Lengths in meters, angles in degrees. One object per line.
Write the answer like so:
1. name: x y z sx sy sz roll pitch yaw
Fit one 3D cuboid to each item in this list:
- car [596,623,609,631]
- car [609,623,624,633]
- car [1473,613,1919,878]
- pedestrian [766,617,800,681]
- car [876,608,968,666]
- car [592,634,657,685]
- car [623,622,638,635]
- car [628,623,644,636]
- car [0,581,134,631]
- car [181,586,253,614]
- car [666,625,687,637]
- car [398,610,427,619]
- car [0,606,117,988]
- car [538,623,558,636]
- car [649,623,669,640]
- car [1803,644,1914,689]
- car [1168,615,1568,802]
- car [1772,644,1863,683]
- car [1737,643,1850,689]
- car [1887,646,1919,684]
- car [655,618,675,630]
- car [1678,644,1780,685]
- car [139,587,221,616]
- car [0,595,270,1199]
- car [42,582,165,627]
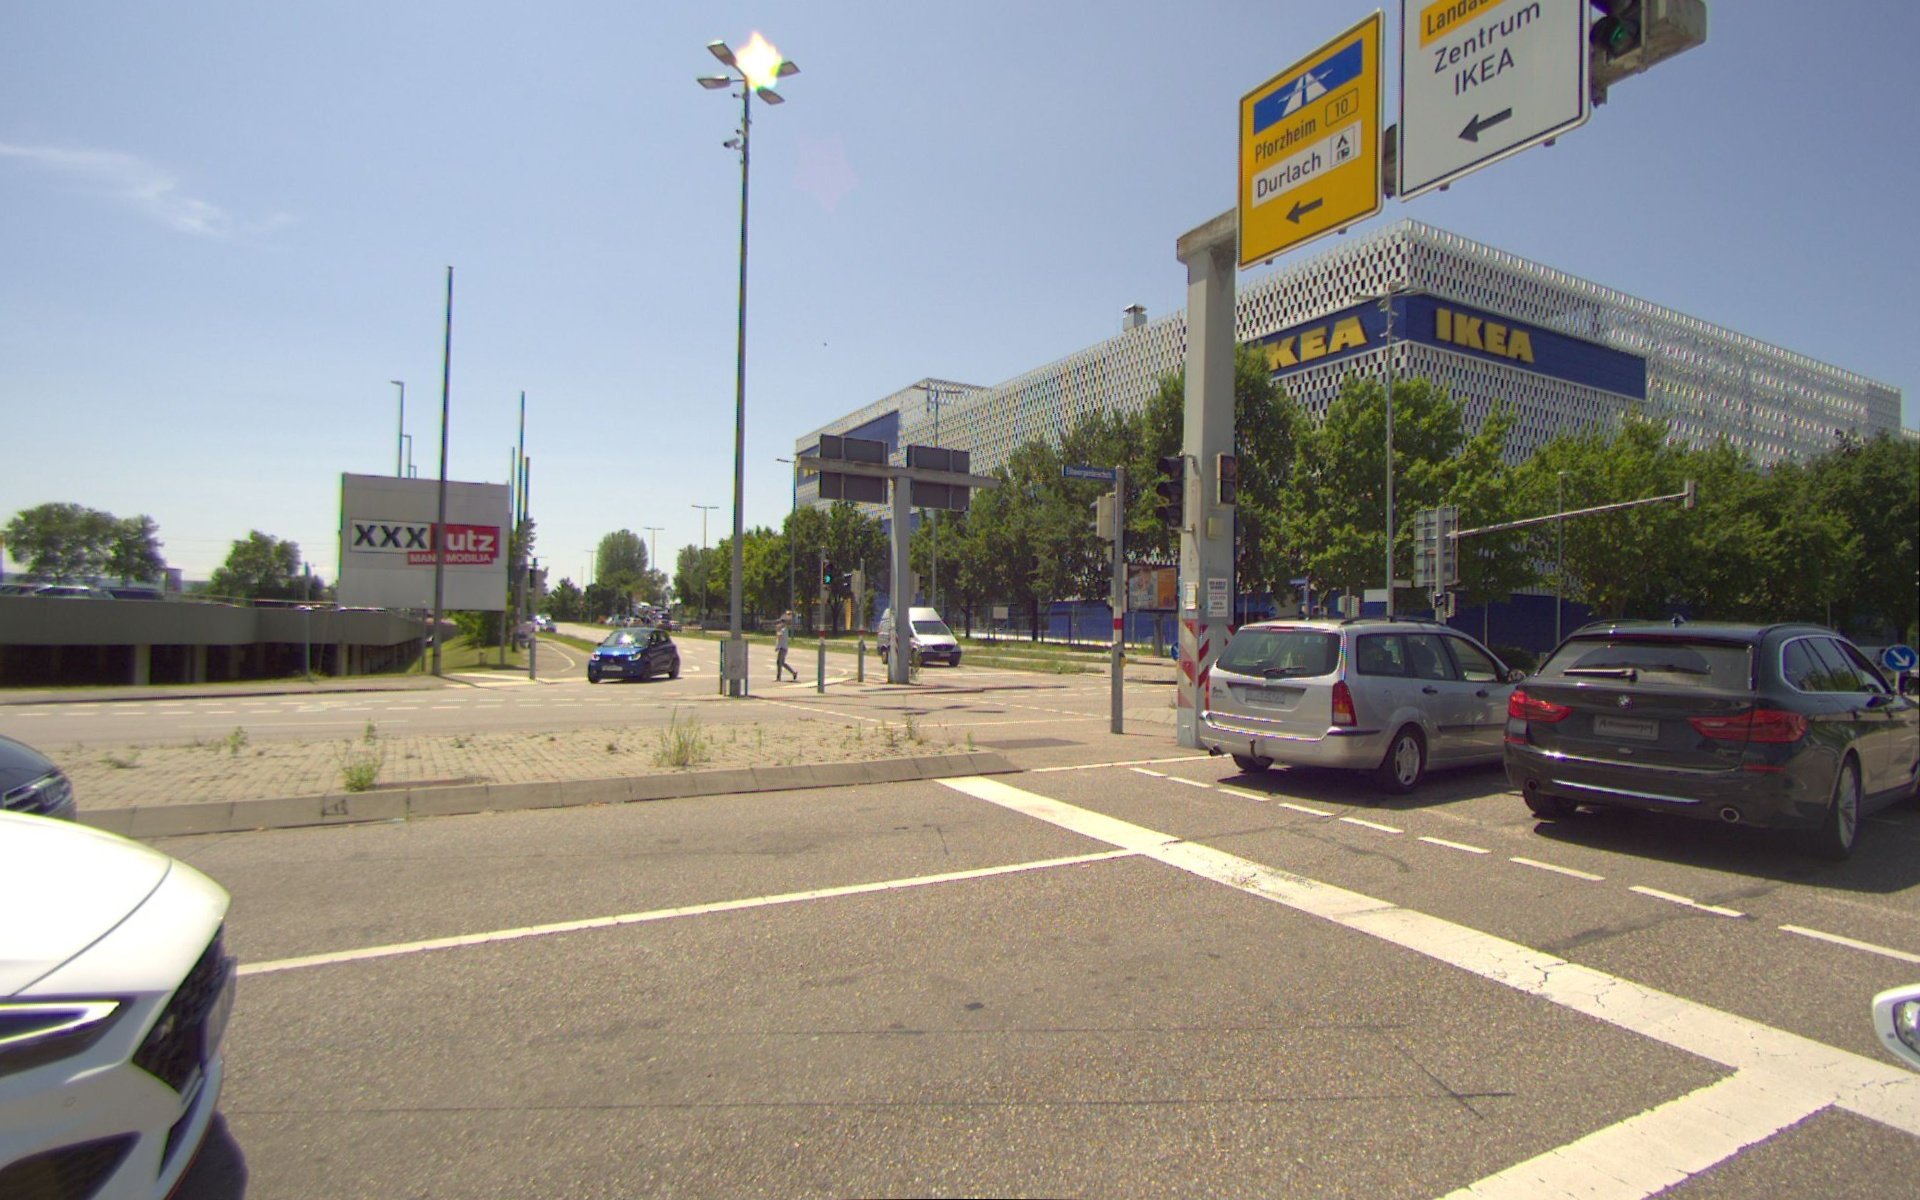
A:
1. car: -60.687 4.584 170.455 1.608 1.368 3.472 2 -2 -29
2. car: -55.298 4.535 161.627 1.608 1.629 3.471 2 -2 -29
3. car: 5.896 0.879 7.675 4.516 1.459 1.784 2 -1 -38
4. pedestrian: -5.122 1.418 29.049 0.816 1.807 0.601 2 -2 -27
5. car: -1.642 1.486 40.937 1.973 2.212 5.019 1 -2 -25
6. car: -9.830 1.724 29.592 1.594 1.382 3.426 1 -2 -15
7. car: -48.988 4.222 149.391 1.607 1.938 3.474 1 -2 -27
8. car: -46.348 4.226 143.621 1.607 1.835 3.474 1 -2 -27
9. car: -39.363 0.290 44.303 4.284 2.040 1.982 2 -2 -34
10. car: -58.371 0.051 79.027 4.278 2.040 1.985 2 -2 -30
11. car: -38.736 4.270 137.344 1.975 1.572 3.972 2 -2 -27
12. car: -93.121 2.426 170.869 3.974 1.441 1.679 3 -2 -39
13. car: -5.900 0.719 3.388 4.413 1.423 1.664 1 0 -29
14. car: -50.162 3.606 122.368 1.836 1.528 3.971 2 -2 -28
15. car: -37.608 3.966 125.315 1.750 2.040 3.813 1 -2 -26
16. car: 32.364 2.398 36.159 4.193 1.524 1.719 3 -4 -30
17. car: 4.019 0.897 9.682 3.968 1.441 1.681 1 -1 -35
18. car: 35.648 2.650 41.734 3.870 1.564 1.718 3 -3 -31
19. car: 27.314 2.172 32.916 3.671 1.407 1.637 3 -4 -30
20. car: 38.941 2.608 39.820 4.660 1.464 1.720 2 -4 -28
21. car: -42.465 3.471 144.721 1.976 1.572 3.970 2 -2 -29
22. car: 28.691 2.422 37.473 3.992 1.442 1.653 3 -3 -31
23. car: -52.727 0.125 67.972 4.086 1.764 1.770 2 -2 -30
24. car: -3.546 0.680 1.454 4.023 1.455 1.779 2 -1 -30
25. car: -41.931 0.266 49.315 4.285 2.040 1.981 2 -2 -34
